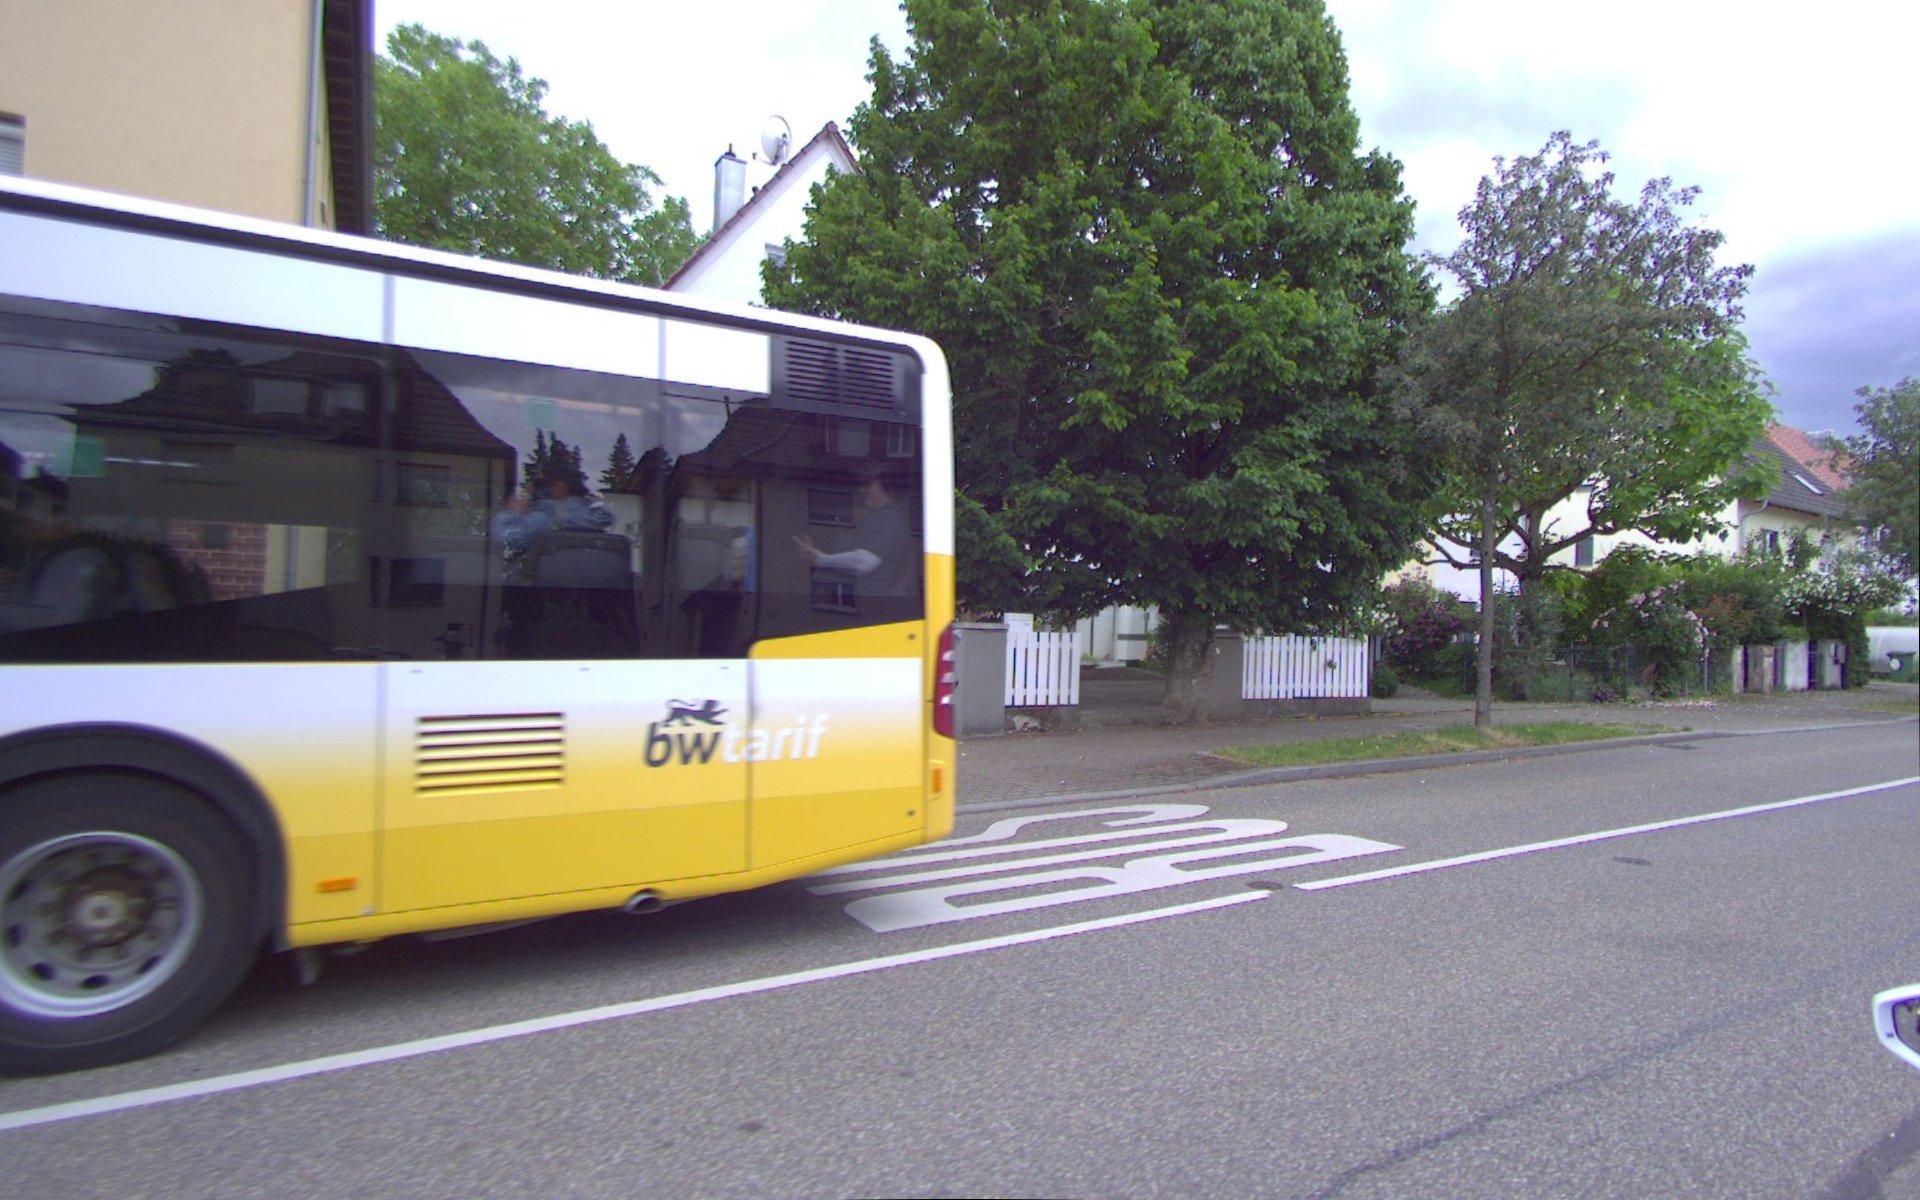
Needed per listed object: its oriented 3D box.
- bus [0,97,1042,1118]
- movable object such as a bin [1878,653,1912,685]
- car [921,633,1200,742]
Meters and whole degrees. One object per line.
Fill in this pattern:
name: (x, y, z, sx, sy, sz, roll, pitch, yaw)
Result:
bus: (-5.371, 0.005, 3.166, 11.928, 3.126, 2.620, 1, -2, -30)
movable object such as a bin: (27.649, 2.024, 29.711, 0.535, 0.913, 0.579, 1, -2, 13)
car: (1.751, 1.367, 16.750, 4.571, 1.585, 1.795, 1, -3, -35)
